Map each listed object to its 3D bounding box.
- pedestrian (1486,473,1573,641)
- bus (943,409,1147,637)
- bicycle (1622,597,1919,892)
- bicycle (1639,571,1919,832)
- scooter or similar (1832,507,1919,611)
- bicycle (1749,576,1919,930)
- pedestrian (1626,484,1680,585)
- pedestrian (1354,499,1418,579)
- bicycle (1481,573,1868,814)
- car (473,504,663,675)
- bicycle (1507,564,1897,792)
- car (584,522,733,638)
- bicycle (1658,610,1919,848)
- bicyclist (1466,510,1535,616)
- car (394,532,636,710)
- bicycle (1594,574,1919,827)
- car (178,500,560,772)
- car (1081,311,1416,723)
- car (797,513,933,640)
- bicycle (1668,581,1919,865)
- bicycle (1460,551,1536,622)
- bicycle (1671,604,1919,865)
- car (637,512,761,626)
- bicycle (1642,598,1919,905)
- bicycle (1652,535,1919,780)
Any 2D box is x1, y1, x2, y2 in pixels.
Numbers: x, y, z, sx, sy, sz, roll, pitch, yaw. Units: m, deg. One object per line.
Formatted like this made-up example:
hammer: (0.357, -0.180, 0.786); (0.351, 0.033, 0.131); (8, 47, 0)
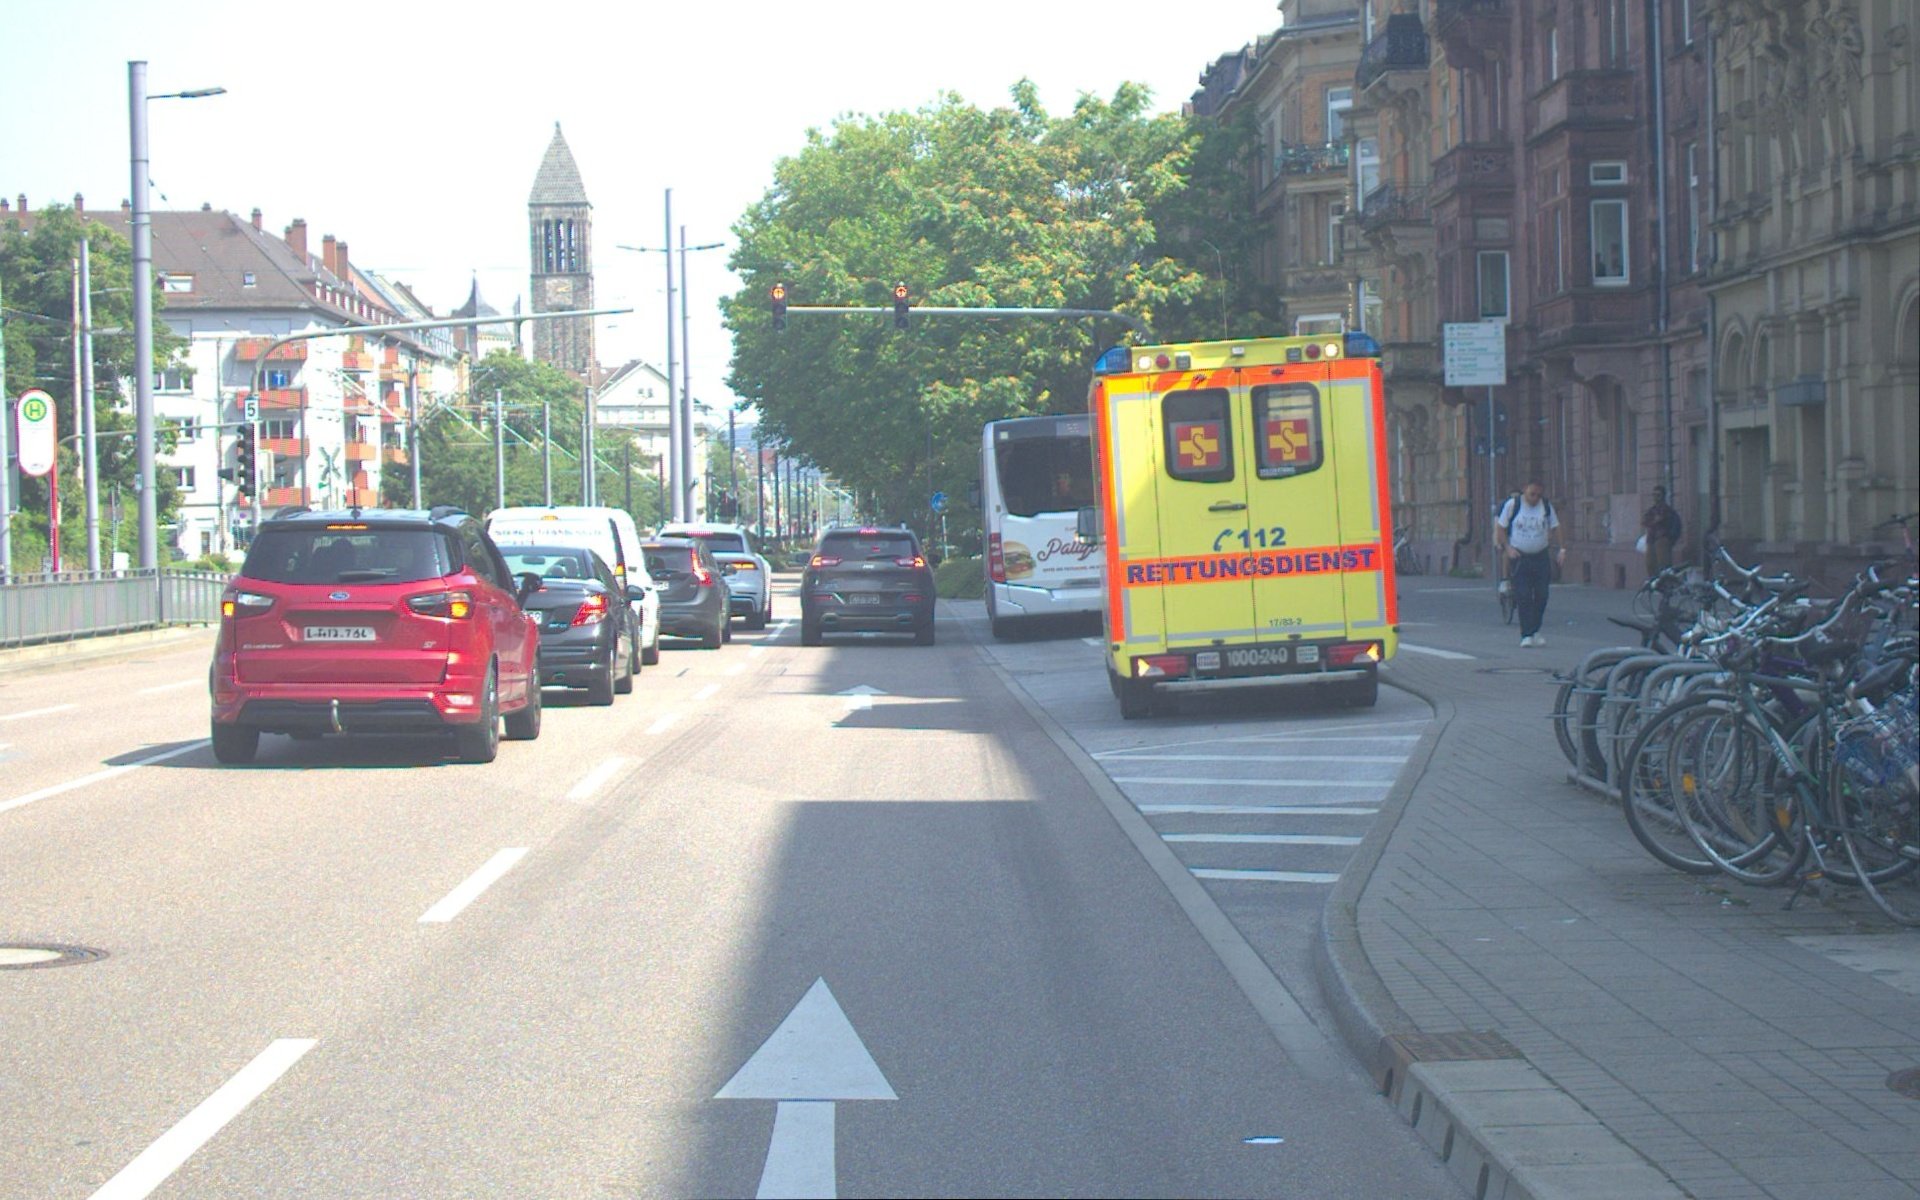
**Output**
pedestrian: (5.704, -0.432, 34.423); (0.697, 1.661, 0.602); (0, 1, 25)
bus: (1.115, -1.164, 52.526); (2.534, 3.021, 12.437); (-1, 1, -1)
bicycle: (3.284, 0.532, 12.882); (1.537, 1.068, 0.365); (0, 2, -1)
bicycle: (3.707, 0.422, 14.637); (1.537, 1.068, 0.472); (0, 2, -1)
scooter or similar: (10.841, -0.489, 40.346); (0.512, 1.192, 1.305); (-2, 1, -20)
bicycle: (3.053, 0.471, 11.419); (0.475, 1.067, 1.506); (-1, 1, -1)
pedestrian: (11.054, -1.047, 54.857); (0.622, 1.587, 0.696); (-2, 1, -7)
pedestrian: (9.755, -1.411, 78.828); (1.249, 1.745, 1.526); (-1, 3, 0)
bicycle: (3.305, 0.423, 15.985); (1.658, 1.068, 0.644); (-1, 1, -1)
car: (-4.310, -0.131, 38.324); (1.790, 1.774, 4.000); (-1, 0, -2)
bicycle: (3.593, 0.373, 16.753); (1.776, 1.068, 0.644); (-1, 1, 4)
car: (-4.037, -0.277, 46.513); (1.790, 1.467, 4.000); (-1, 0, -2)
bicycle: (3.695, 0.527, 14.216); (1.537, 0.949, 0.365); (0, 2, -1)
bicyclist: (6.861, -0.472, 43.691); (0.753, 1.317, 0.582); (-1, 1, -1)
car: (-3.898, 0.137, 30.695); (1.790, 1.426, 4.001); (-1, 1, -3)
bicycle: (3.701, 0.435, 15.235); (1.658, 1.068, 0.644); (0, 2, -1)
car: (-3.827, 0.170, 22.937); (1.762, 1.612, 4.082); (-1, 1, 1)
car: (2.208, -0.673, 27.568); (2.299, 2.878, 5.599); (-2, 2, 3)
car: (-1.356, -0.328, 48.022); (1.790, 1.672, 4.000); (-1, 0, -2)
bicycle: (3.706, 0.467, 13.343); (1.835, 1.068, 0.365); (0, 2, -1)
bicycle: (6.806, -0.176, 43.534); (0.589, 0.852, 1.776); (-1, 1, -3)
bicycle: (3.661, 0.532, 13.792); (1.537, 1.013, 0.365); (0, 2, -1)
car: (-4.092, -0.486, 54.320); (1.790, 1.692, 4.000); (-1, 0, -2)
bicycle: (3.572, 0.533, 12.485); (2.120, 1.068, 0.382); (-1, 2, -5)
bicycle: (4.412, 0.283, 17.475); (1.674, 1.211, 0.644); (0, 1, 4)
